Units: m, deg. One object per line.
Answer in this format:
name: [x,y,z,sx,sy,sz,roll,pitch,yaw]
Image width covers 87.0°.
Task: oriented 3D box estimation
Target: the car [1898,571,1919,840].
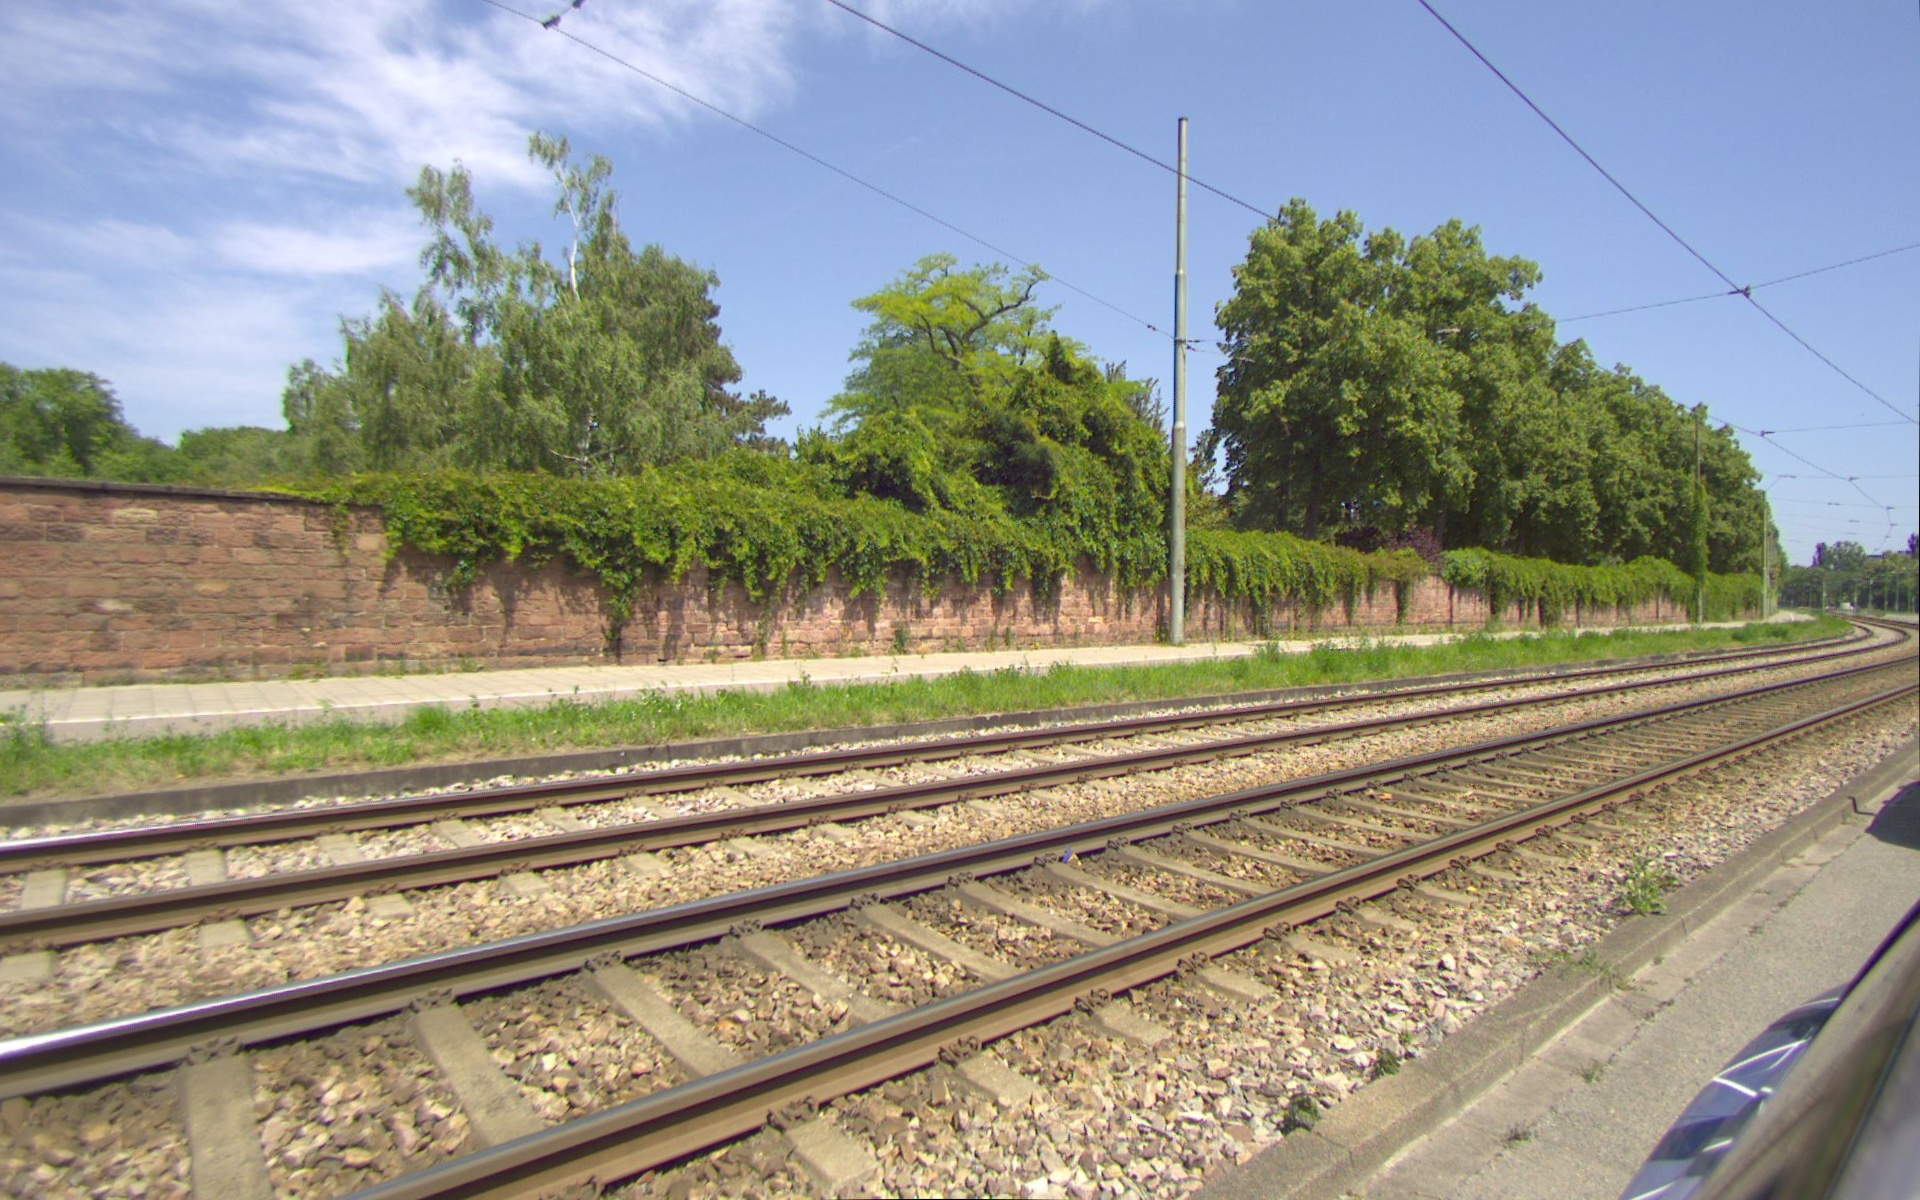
car: [7.714,0.605,6.364,3.927,1.563,2.062,0,-2,-38]
